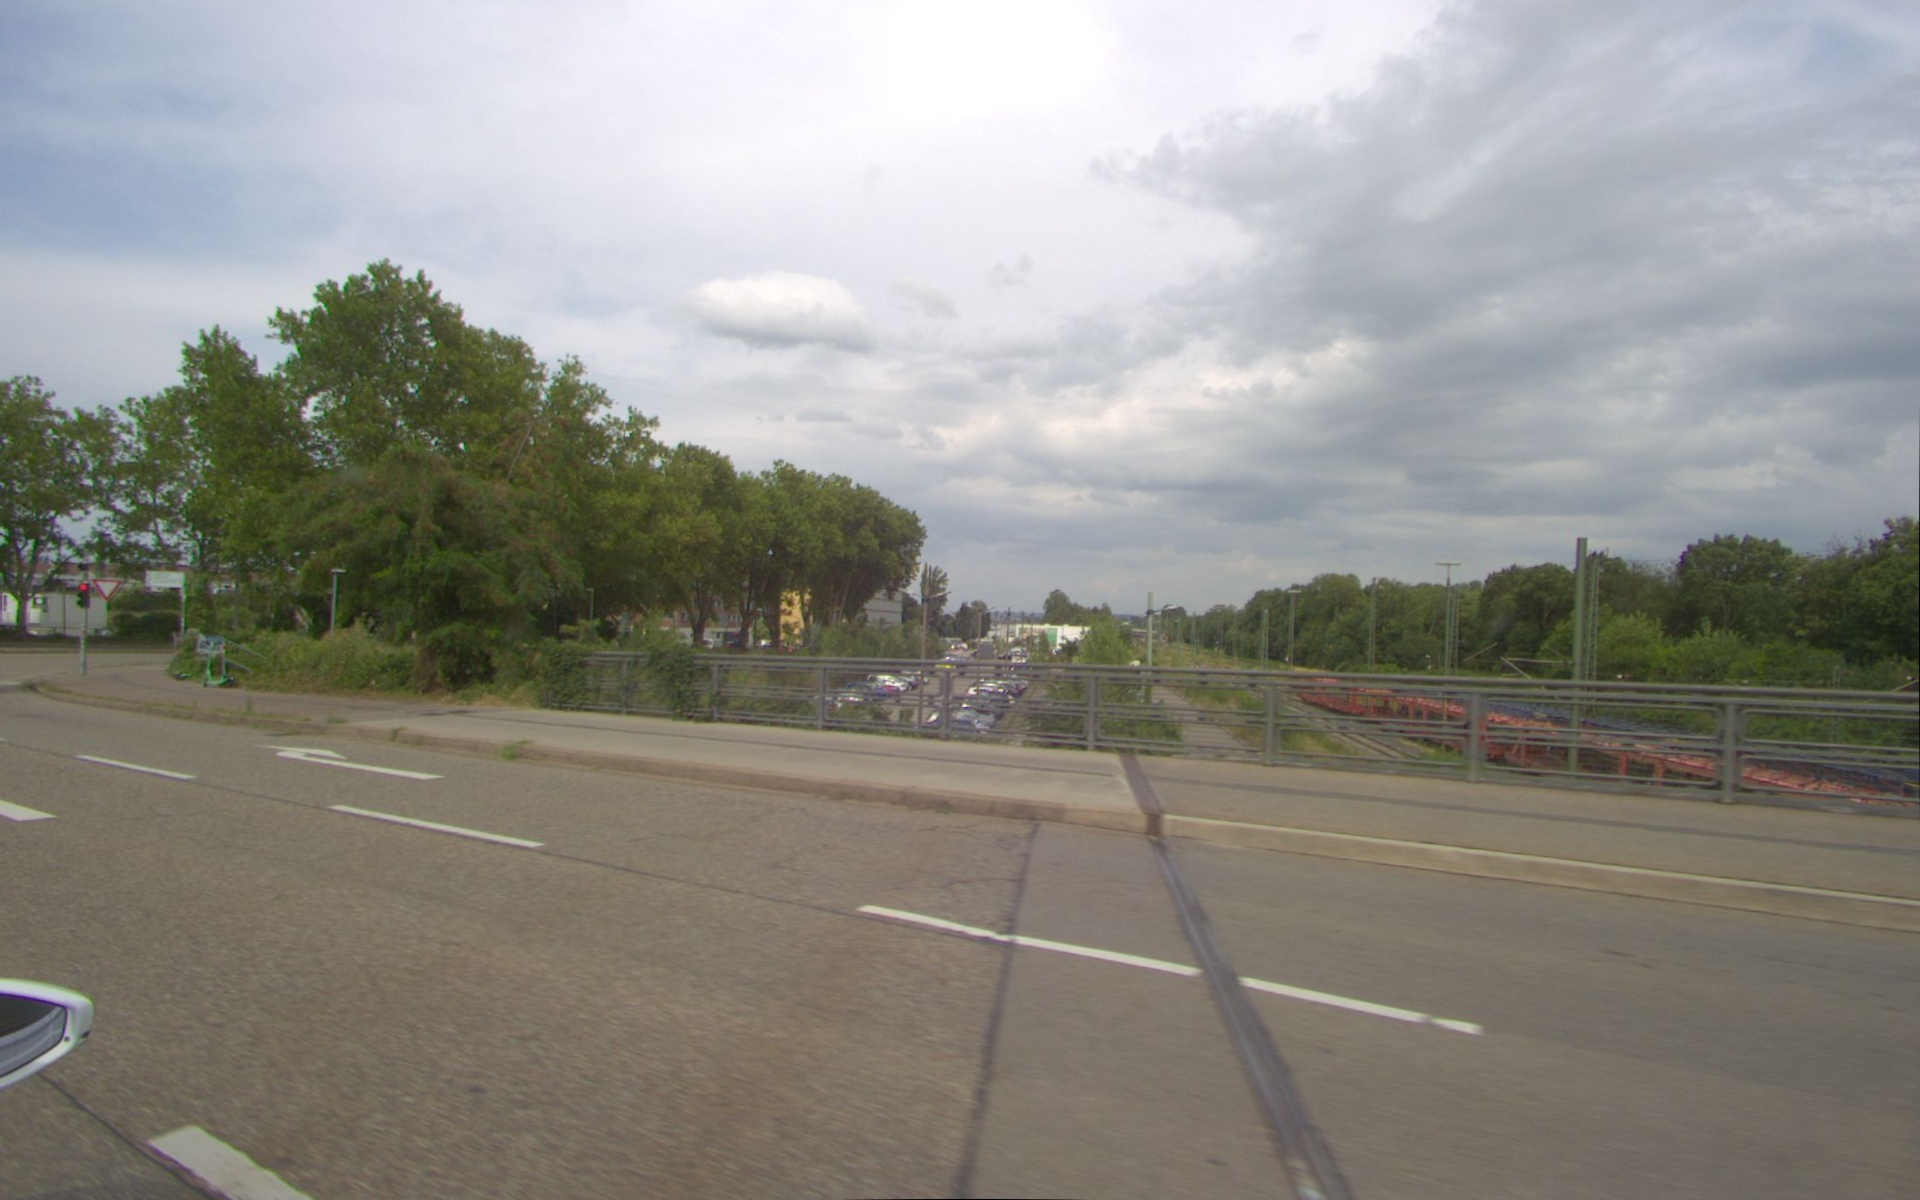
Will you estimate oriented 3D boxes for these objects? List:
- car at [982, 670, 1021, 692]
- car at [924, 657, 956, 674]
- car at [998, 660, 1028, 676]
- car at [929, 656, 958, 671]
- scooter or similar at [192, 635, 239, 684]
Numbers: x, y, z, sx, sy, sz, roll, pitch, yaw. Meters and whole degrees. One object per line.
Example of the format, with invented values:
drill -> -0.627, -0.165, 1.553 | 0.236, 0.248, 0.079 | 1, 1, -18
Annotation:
car -> 4.224, 8.261, 102.397 | 3.922, 2.039, 1.763 | 2, -1, 3
car -> -2.715, 8.902, 136.089 | 3.923, 2.039, 1.763 | 2, -1, 9
car -> 7.270, 9.272, 136.886 | 3.922, 2.039, 1.763 | 2, -1, 3
car -> -2.401, 9.118, 143.902 | 3.923, 2.039, 1.763 | 2, -1, 9
scooter or similar -> -18.752, 1.483, 25.220 | 1.260, 1.198, 0.396 | 0, -1, 26
